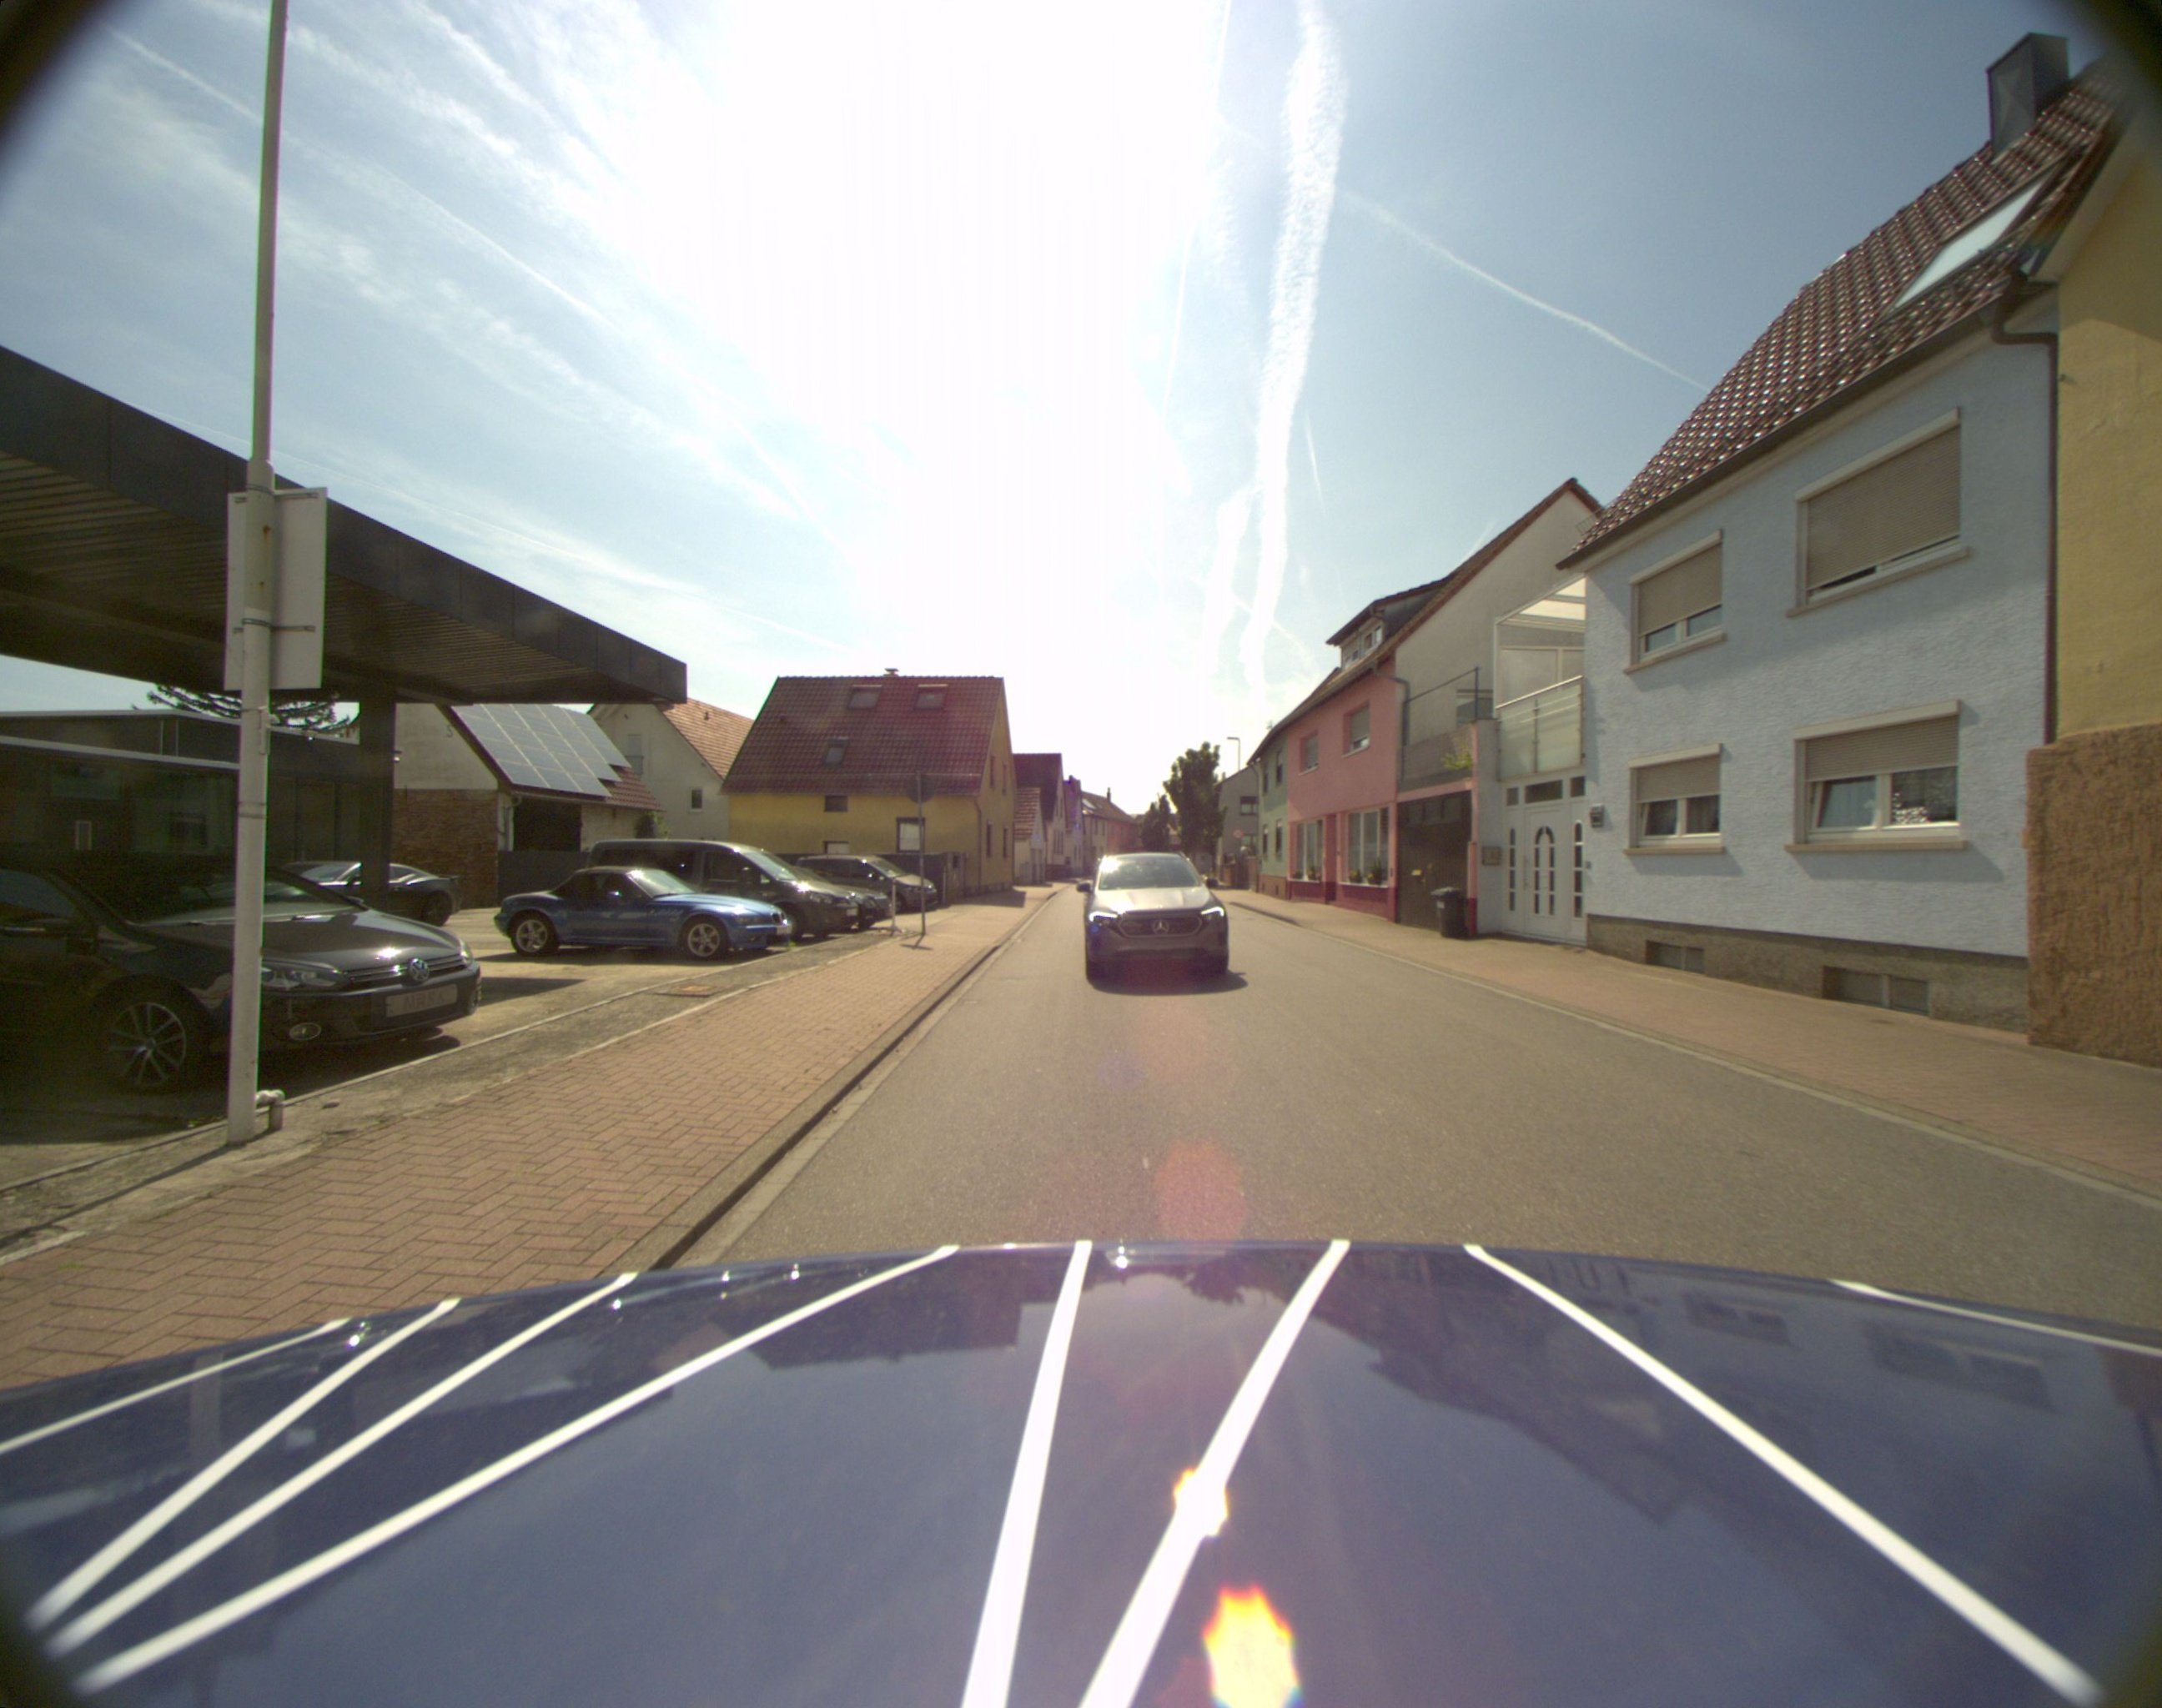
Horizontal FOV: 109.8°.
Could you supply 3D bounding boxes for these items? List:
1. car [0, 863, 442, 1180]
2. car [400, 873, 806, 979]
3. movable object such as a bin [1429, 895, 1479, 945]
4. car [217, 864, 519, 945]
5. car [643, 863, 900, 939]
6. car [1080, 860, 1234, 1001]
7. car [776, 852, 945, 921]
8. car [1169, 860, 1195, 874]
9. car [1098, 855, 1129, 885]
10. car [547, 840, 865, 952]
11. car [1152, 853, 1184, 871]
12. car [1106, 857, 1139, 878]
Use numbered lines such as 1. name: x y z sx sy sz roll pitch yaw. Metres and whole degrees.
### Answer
1. car: -6.653 0.809 4.653 4.169 1.472 1.728 0 0 5
2. car: -6.495 0.926 10.668 4.548 1.260 1.966 0 0 5
3. movable object such as a bin: 7.038 1.237 14.348 0.631 0.875 0.599 -2 1 2
4. car: -14.094 0.906 15.530 1.763 1.339 4.748 0 0 -1
5. car: -6.405 0.949 16.056 4.645 1.489 1.911 0 0 5
6. car: 0.958 0.907 11.003 1.737 1.564 4.291 -2 0 2
7. car: -6.394 0.931 22.235 4.336 1.736 1.738 -2 1 8
8. car: 11.166 1.451 84.200 1.515 1.401 3.596 -2 1 31
9. car: 1.973 0.946 46.607 1.792 1.643 4.393 -1 1 2
10. car: -6.442 0.678 13.398 4.645 1.799 1.966 0 0 5
11. car: 10.137 0.924 88.228 1.944 1.841 4.517 -2 1 31
12. car: 3.612 1.163 65.210 1.804 1.617 4.128 -2 1 17
